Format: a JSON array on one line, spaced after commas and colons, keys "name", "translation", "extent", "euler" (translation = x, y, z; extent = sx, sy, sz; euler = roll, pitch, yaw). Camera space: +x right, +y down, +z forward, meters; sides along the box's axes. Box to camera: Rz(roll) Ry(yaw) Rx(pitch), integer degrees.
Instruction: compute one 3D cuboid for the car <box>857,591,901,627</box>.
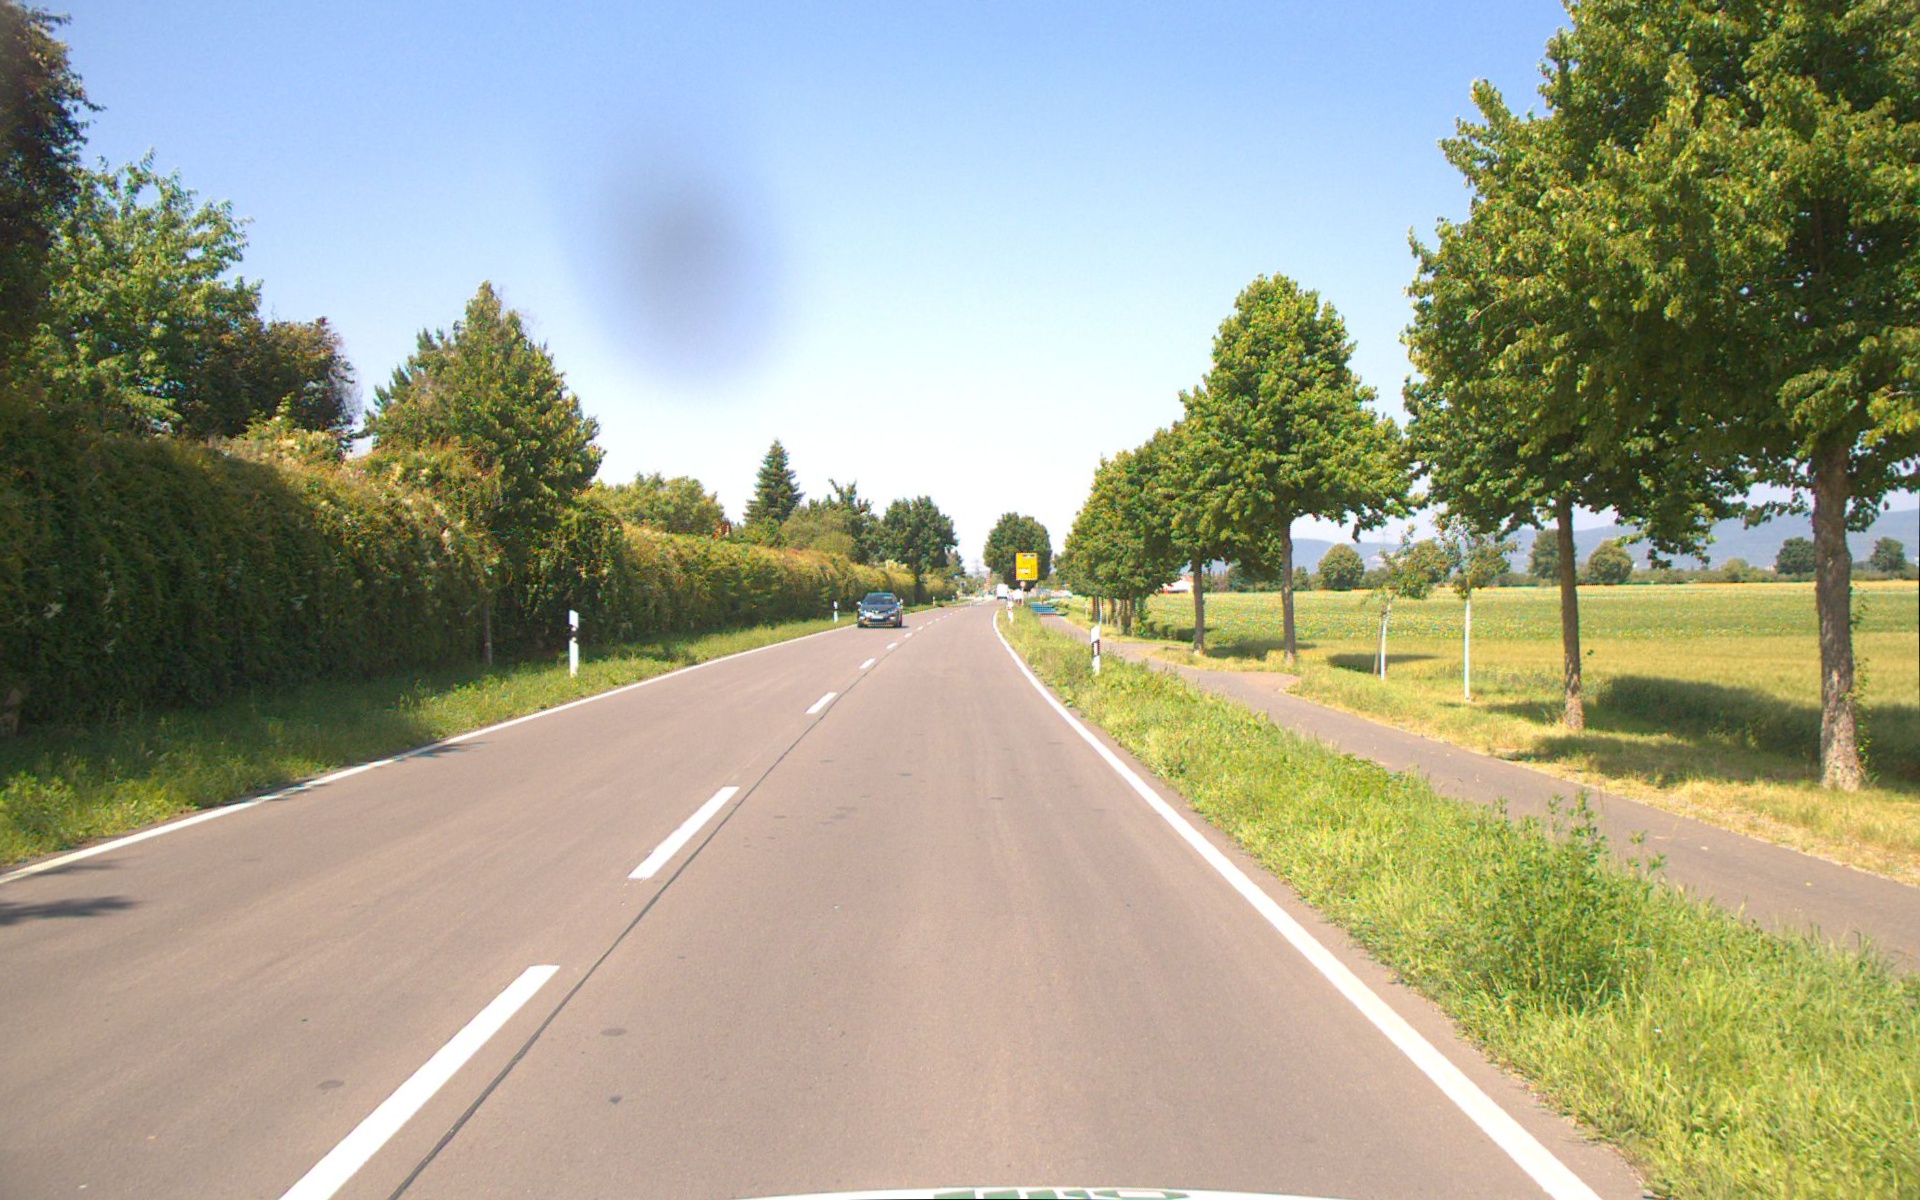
[{"name": "car", "translation": [-3.486, 0.371, 71.532], "extent": [1.802, 1.493, 3.932], "euler": [-1, 0, -2]}]
